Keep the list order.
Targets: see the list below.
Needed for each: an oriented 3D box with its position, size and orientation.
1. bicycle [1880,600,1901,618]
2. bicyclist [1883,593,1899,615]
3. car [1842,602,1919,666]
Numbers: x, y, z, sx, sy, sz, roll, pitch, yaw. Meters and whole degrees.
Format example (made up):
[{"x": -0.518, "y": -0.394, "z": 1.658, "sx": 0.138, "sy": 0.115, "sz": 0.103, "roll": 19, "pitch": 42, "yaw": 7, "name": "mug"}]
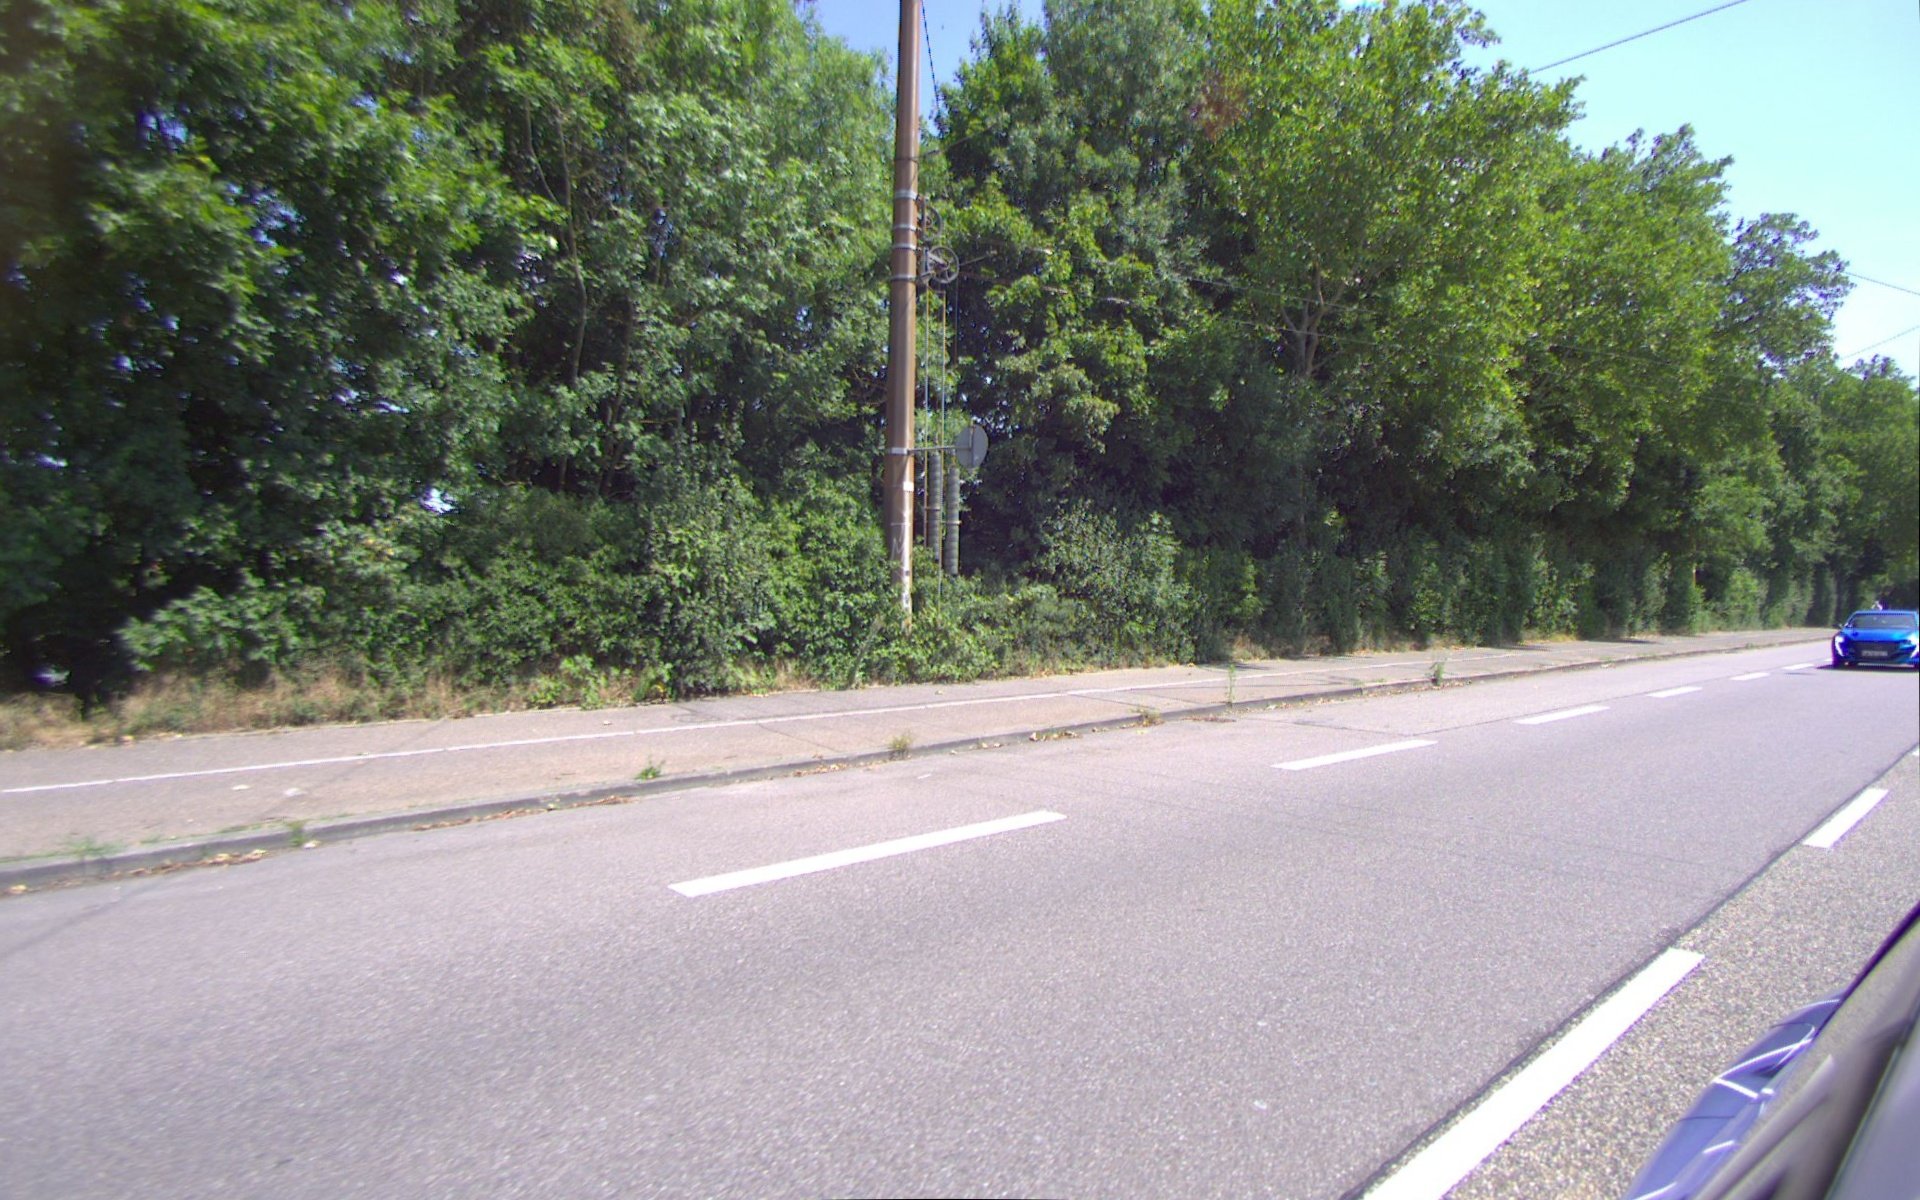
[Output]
[{"x": 63.726, "y": 0.601, "z": 69.314, "sx": 2.493, "sy": 1.152, "sz": 0.710, "roll": 1, "pitch": 1, "yaw": -40, "name": "bicycle"}, {"x": 63.717, "y": 0.259, "z": 69.292, "sx": 0.629, "sy": 1.457, "sz": 0.704, "roll": 1, "pitch": 1, "yaw": -40, "name": "bicyclist"}, {"x": 23.135, "y": 0.789, "z": 24.985, "sx": 3.680, "sy": 1.423, "sz": 1.658, "roll": 0, "pitch": 0, "yaw": -42, "name": "car"}]
